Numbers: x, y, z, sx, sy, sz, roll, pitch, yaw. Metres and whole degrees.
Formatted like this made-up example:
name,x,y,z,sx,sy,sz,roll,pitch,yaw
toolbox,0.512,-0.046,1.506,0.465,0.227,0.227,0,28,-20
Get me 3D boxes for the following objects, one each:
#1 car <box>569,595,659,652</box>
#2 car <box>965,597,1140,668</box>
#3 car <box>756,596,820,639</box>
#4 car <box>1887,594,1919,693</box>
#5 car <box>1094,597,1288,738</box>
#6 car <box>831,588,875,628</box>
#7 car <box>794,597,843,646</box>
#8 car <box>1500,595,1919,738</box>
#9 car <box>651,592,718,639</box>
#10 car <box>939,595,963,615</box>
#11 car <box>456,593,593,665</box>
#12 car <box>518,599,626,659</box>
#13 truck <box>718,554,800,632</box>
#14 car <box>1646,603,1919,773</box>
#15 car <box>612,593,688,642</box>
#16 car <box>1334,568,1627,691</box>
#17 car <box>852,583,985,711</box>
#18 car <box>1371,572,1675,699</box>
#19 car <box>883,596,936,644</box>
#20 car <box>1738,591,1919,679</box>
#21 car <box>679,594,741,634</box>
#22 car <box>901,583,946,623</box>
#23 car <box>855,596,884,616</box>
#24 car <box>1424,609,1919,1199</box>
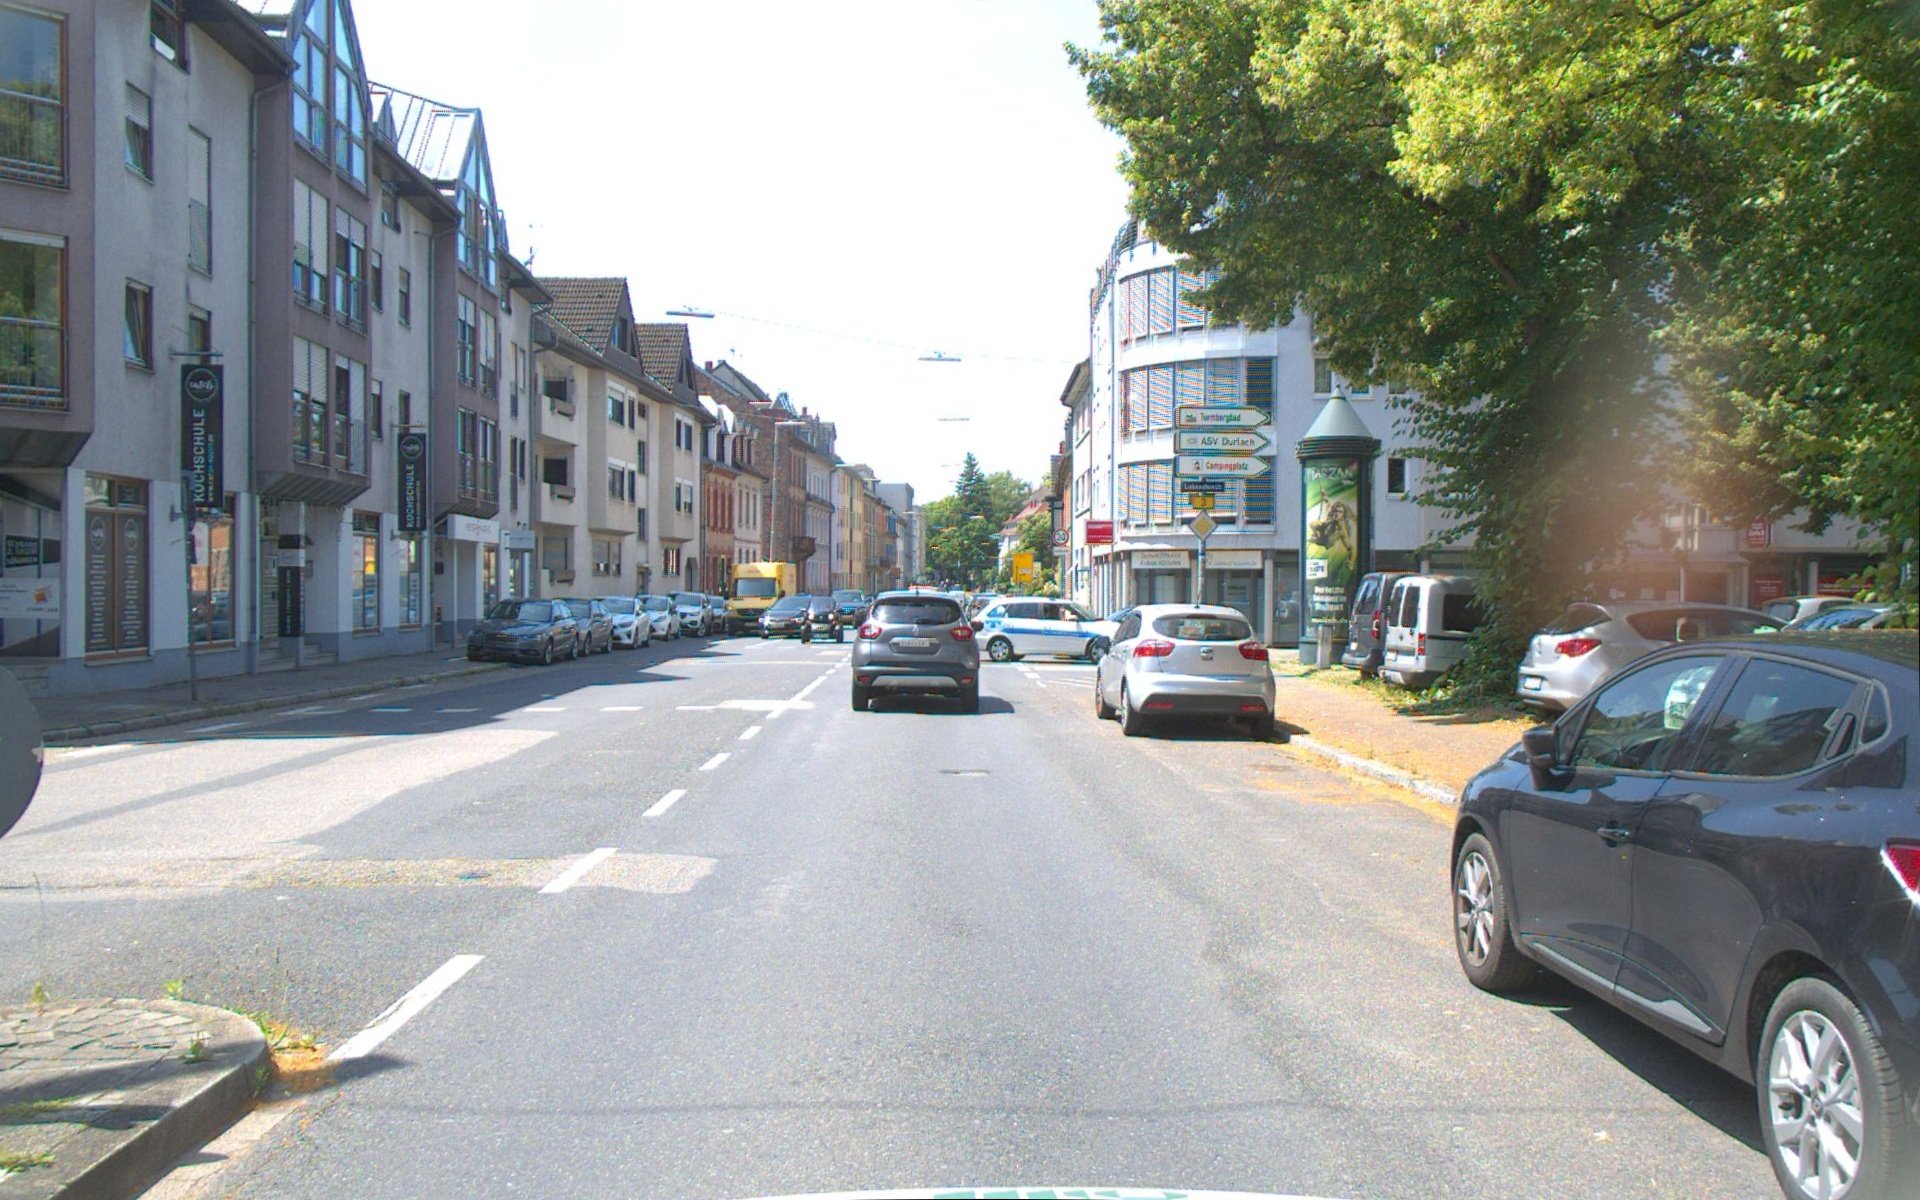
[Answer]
name,x,y,z,sx,sy,sz,roll,pitch,yaw
car,-10.119,0.671,48.641,1.803,1.515,4.384,3,0,-2
car,2.228,0.768,39.585,3.902,1.582,1.571,1,0,16
car,-5.991,0.598,58.134,1.706,1.444,4.223,0,0,1
car,16.987,0.655,26.029,3.908,1.555,1.680,-1,0,-4
car,2.679,0.747,19.968,1.731,1.511,3.890,1,0,-1
car,-4.626,0.334,71.003,1.777,1.649,4.437,-1,0,-4
car,-4.453,0.660,51.856,1.468,1.484,2.719,0,0,-6
car,8.201,0.697,18.196,3.908,1.422,1.807,1,0,-3
car,-10.254,0.553,61.833,1.802,1.623,4.385,3,0,-1
car,-0.722,0.397,134.612,1.726,1.587,3.944,0,0,3
car,-9.963,0.645,38.215,1.802,1.473,4.968,3,0,0
car,-10.101,0.739,43.347,1.802,1.408,4.326,3,0,-1
truck,-7.760,-0.246,64.733,2.180,2.819,7.564,-1,0,0
car,8.605,0.759,15.220,3.906,1.453,1.668,0,0,-1
car,-10.490,0.592,56.289,1.802,1.515,4.385,3,0,-1
car,8.046,0.449,25.823,3.907,1.781,2.015,1,0,-3
car,-0.663,0.615,23.465,1.709,1.645,3.997,1,0,-4
car,7.831,0.470,23.157,3.691,1.696,1.661,0,0,-6
car,-1.833,0.719,60.747,1.775,1.649,4.441,-1,0,0
car,16.911,0.630,30.965,3.908,1.581,1.680,-1,0,-4
car,-10.160,0.558,67.411,1.802,1.514,4.386,3,0,0
car,-1.876,0.138,86.467,1.952,2.049,4.468,0,0,3
car,-7.170,0.464,131.495,1.801,1.447,4.559,-3,0,3
car,2.897,0.781,5.319,1.629,1.453,3.999,1,0,-1
